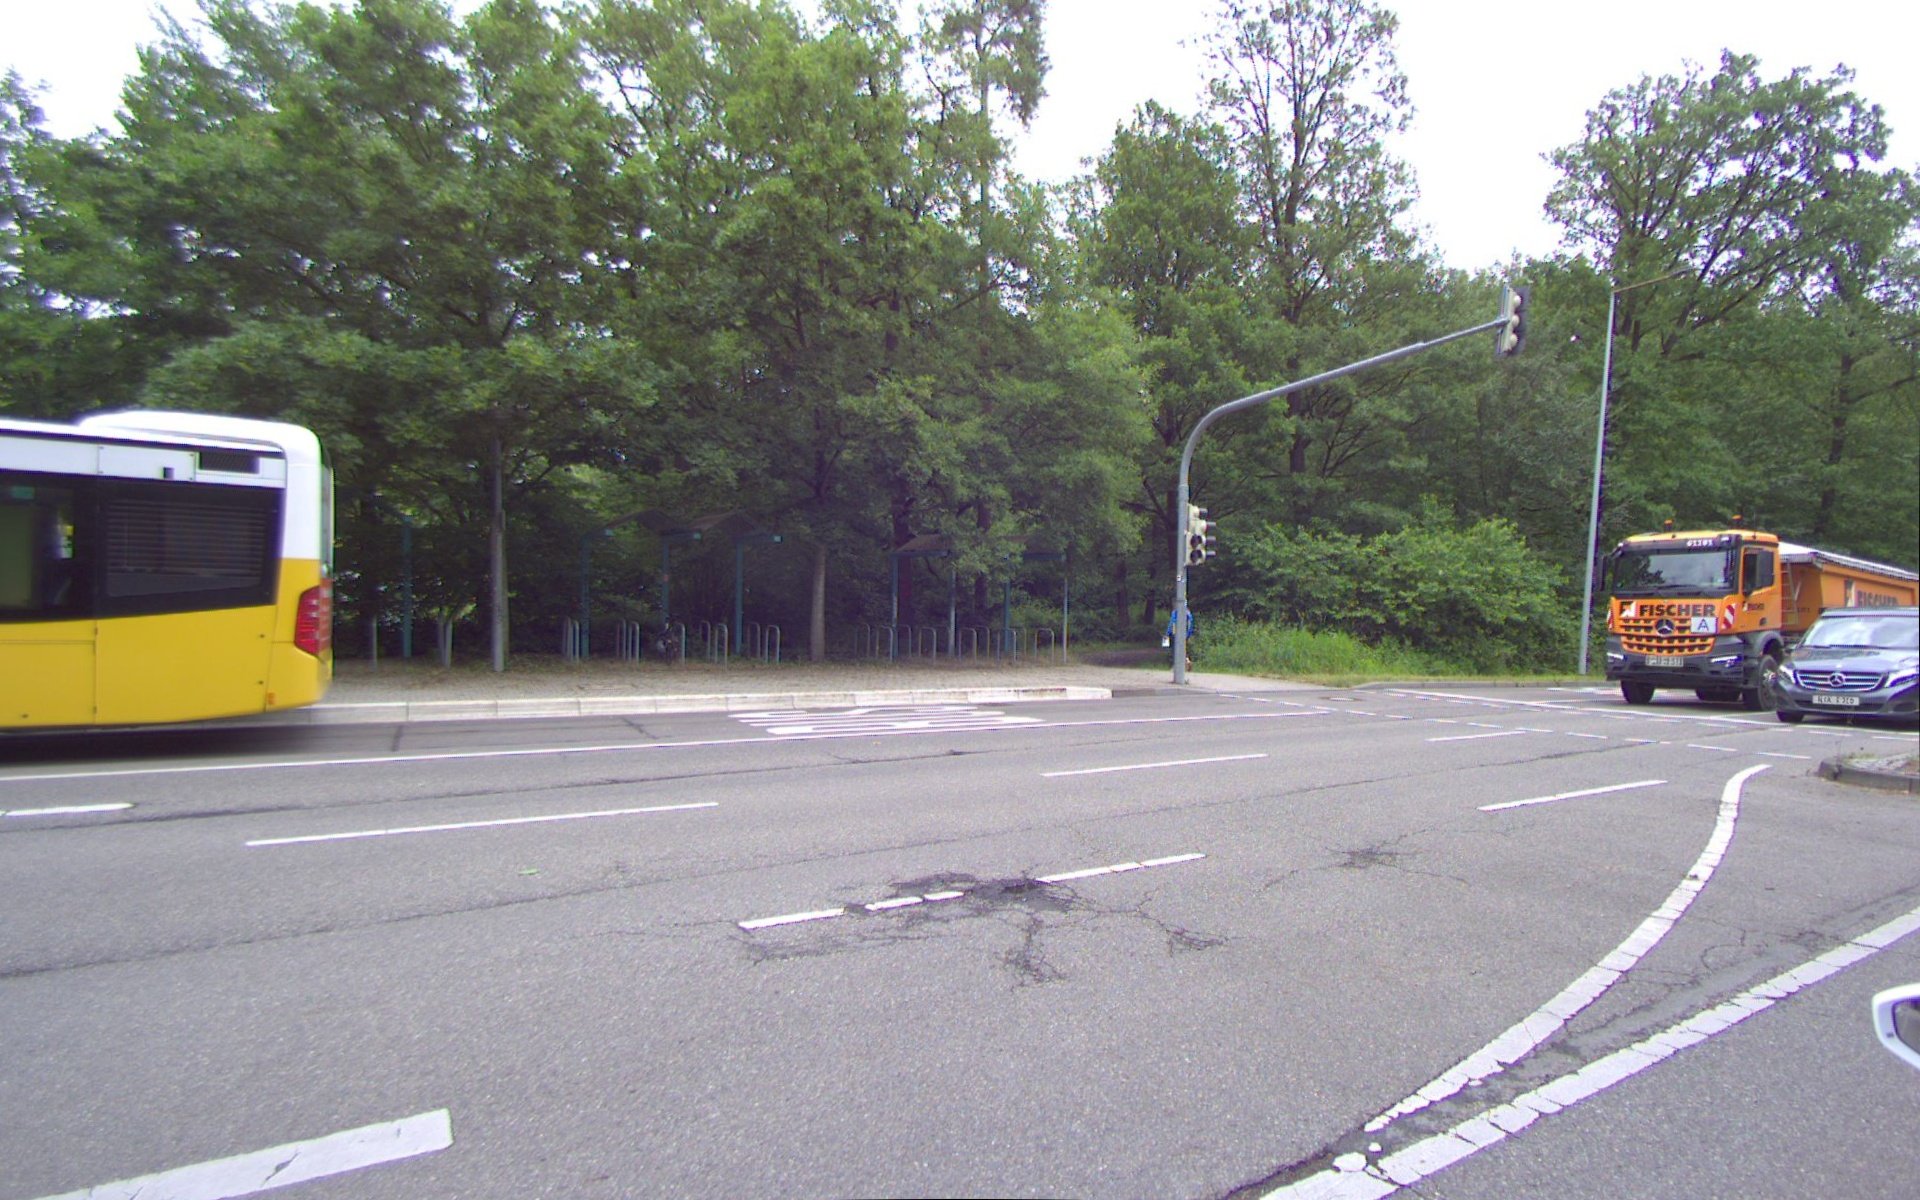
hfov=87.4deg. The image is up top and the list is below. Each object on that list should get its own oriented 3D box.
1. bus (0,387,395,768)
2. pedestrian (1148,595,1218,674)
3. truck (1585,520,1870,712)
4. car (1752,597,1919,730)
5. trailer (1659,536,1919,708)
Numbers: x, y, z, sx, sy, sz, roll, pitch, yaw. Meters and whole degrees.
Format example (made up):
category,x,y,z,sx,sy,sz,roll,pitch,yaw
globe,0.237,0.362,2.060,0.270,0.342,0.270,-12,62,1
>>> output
category,x,y,z,sx,sy,sz,roll,pitch,yaw
bus,-9.943,-0.229,8.849,8.592,3.168,2.885,1,0,-30
pedestrian,5.005,0.754,22.579,1.055,1.671,1.043,0,4,-27
truck,15.995,0.437,20.758,7.090,3.362,2.721,3,-2,-35
car,15.275,1.013,16.687,4.789,1.918,1.981,2,-2,-34
trailer,19.475,0.609,23.259,8.486,3.362,2.720,3,-2,-36
